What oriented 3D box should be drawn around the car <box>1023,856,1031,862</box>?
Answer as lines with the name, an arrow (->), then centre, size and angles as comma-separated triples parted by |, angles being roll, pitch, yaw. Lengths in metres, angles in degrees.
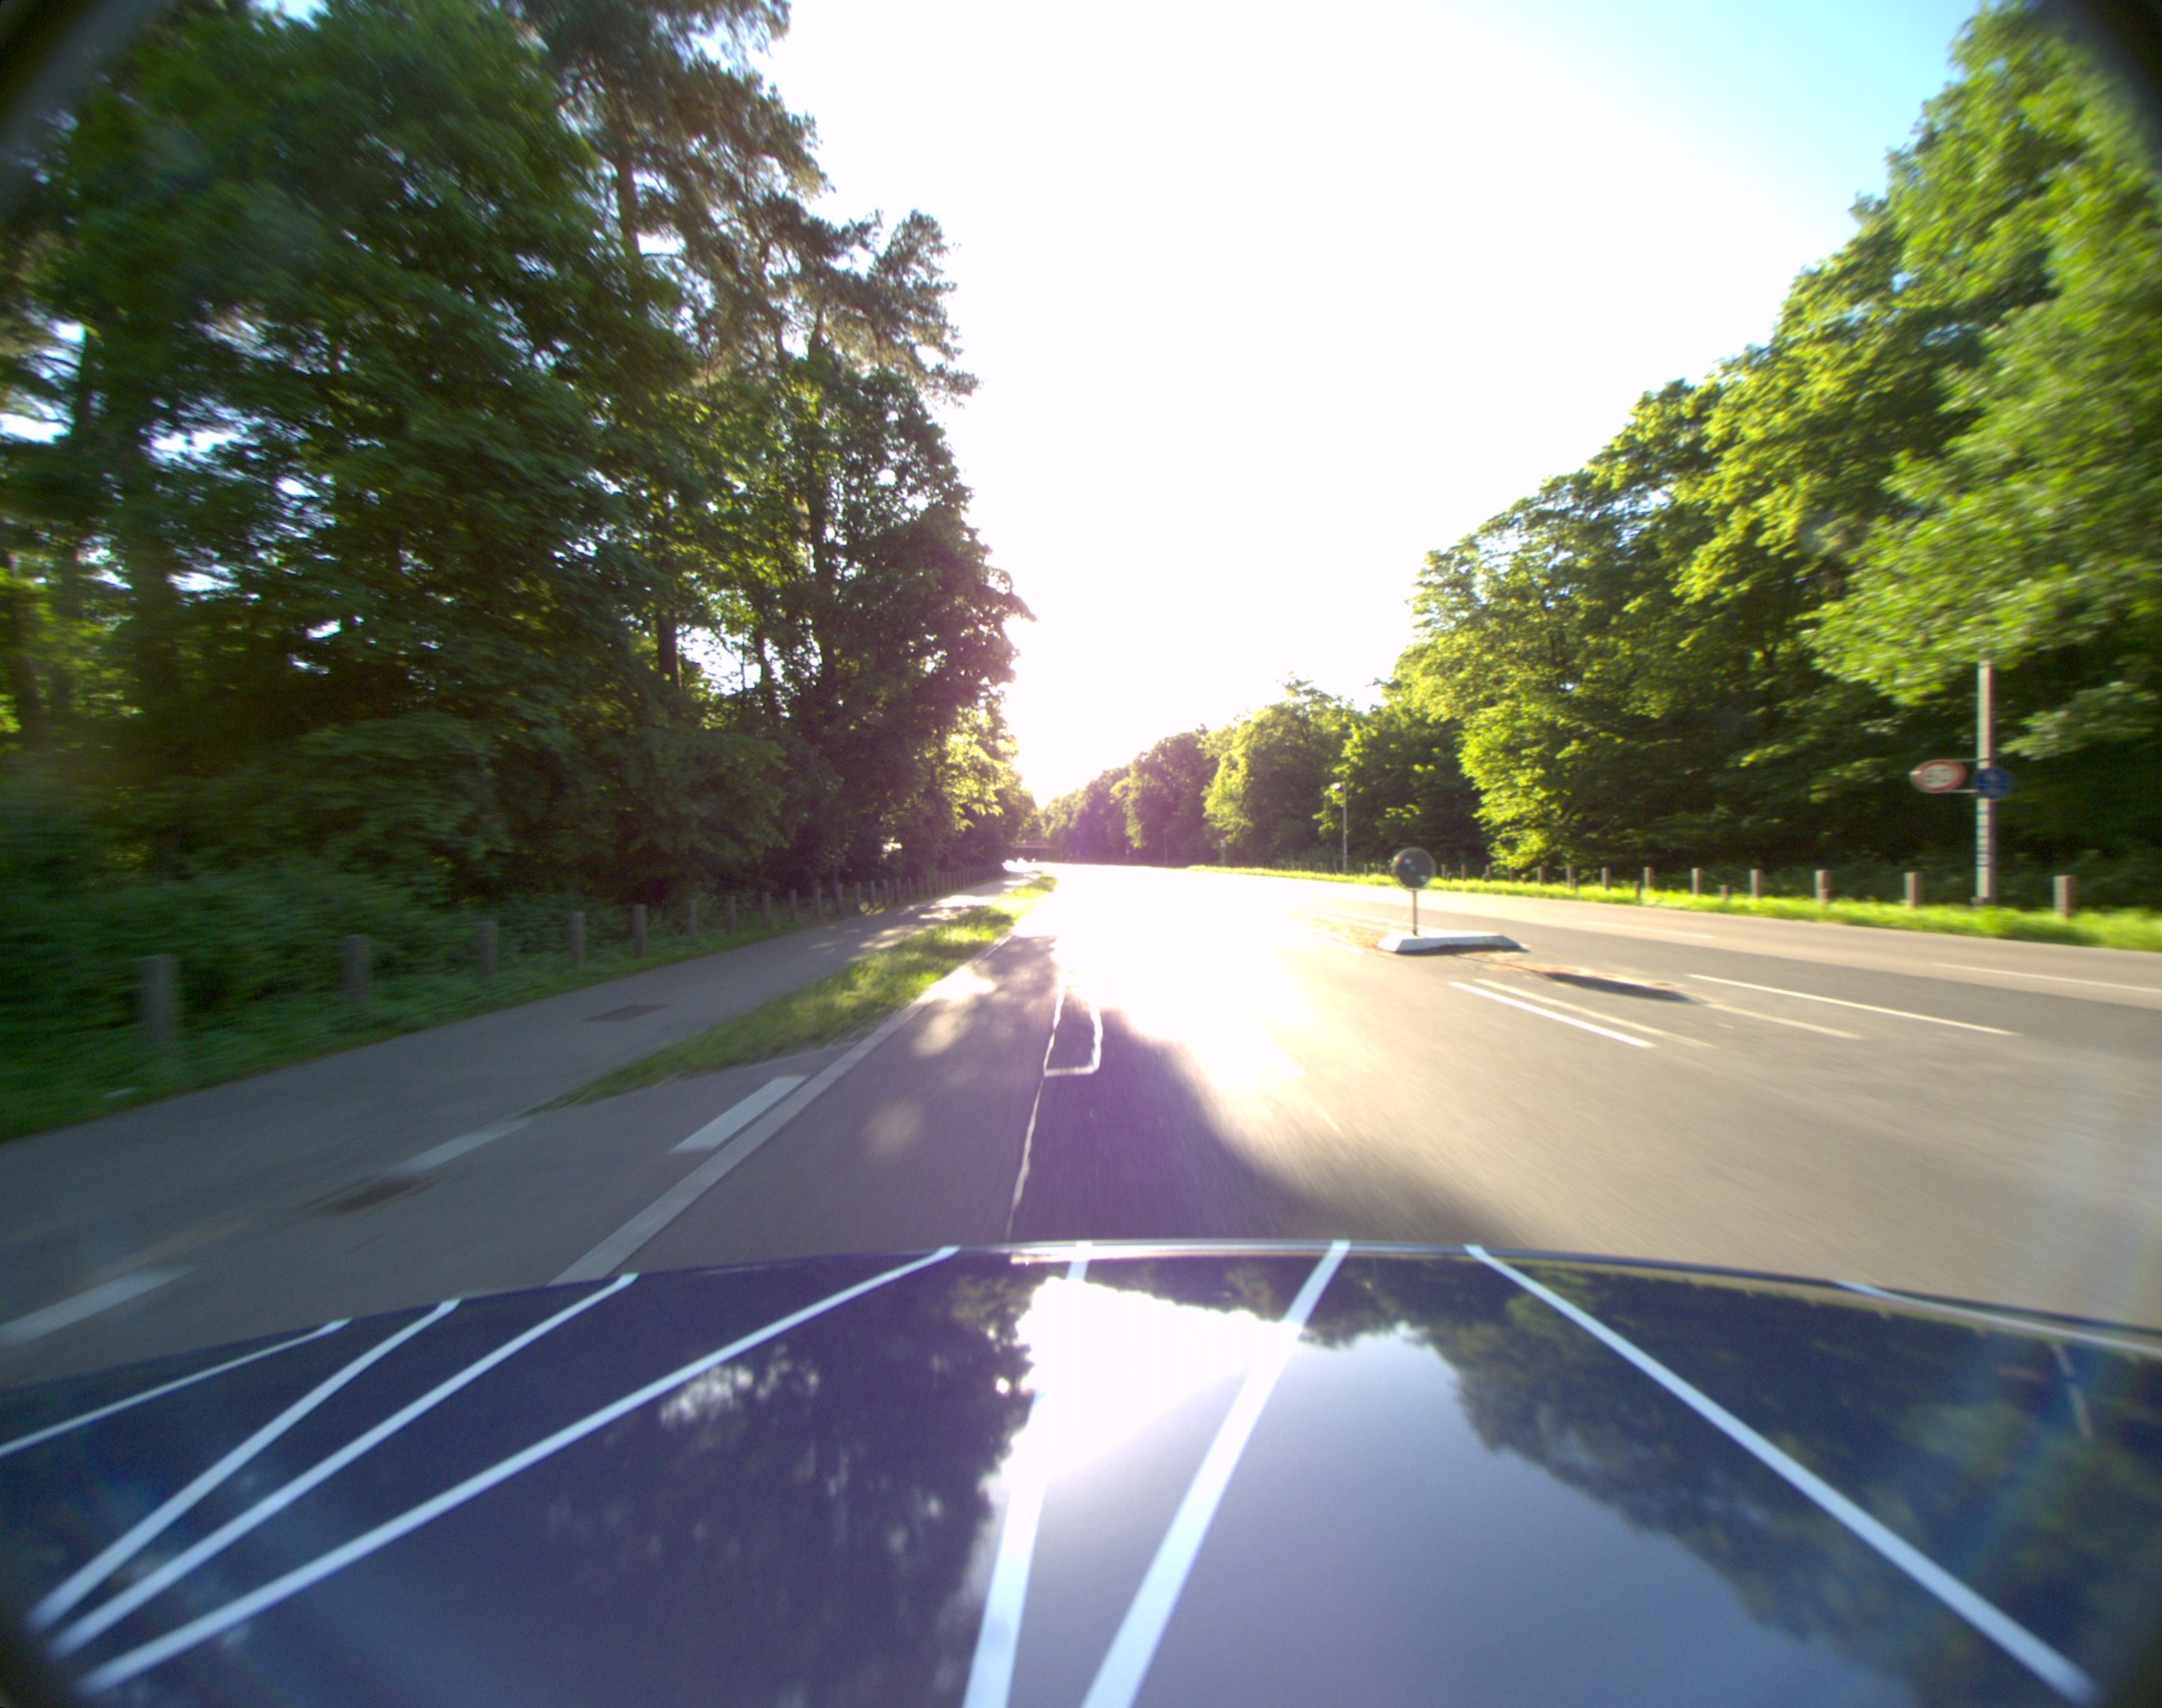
car -> -15.942, 1.484, 224.682 | 1.828, 1.674, 3.996 | -1, 0, -12

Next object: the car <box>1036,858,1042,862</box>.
car -> -13.504, 1.901, 243.756 | 1.592, 1.429, 4.306 | -3, 0, -7

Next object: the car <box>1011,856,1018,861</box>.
car -> -22.586, 1.596, 257.123 | 1.828, 1.674, 3.996 | -1, 0, -12
